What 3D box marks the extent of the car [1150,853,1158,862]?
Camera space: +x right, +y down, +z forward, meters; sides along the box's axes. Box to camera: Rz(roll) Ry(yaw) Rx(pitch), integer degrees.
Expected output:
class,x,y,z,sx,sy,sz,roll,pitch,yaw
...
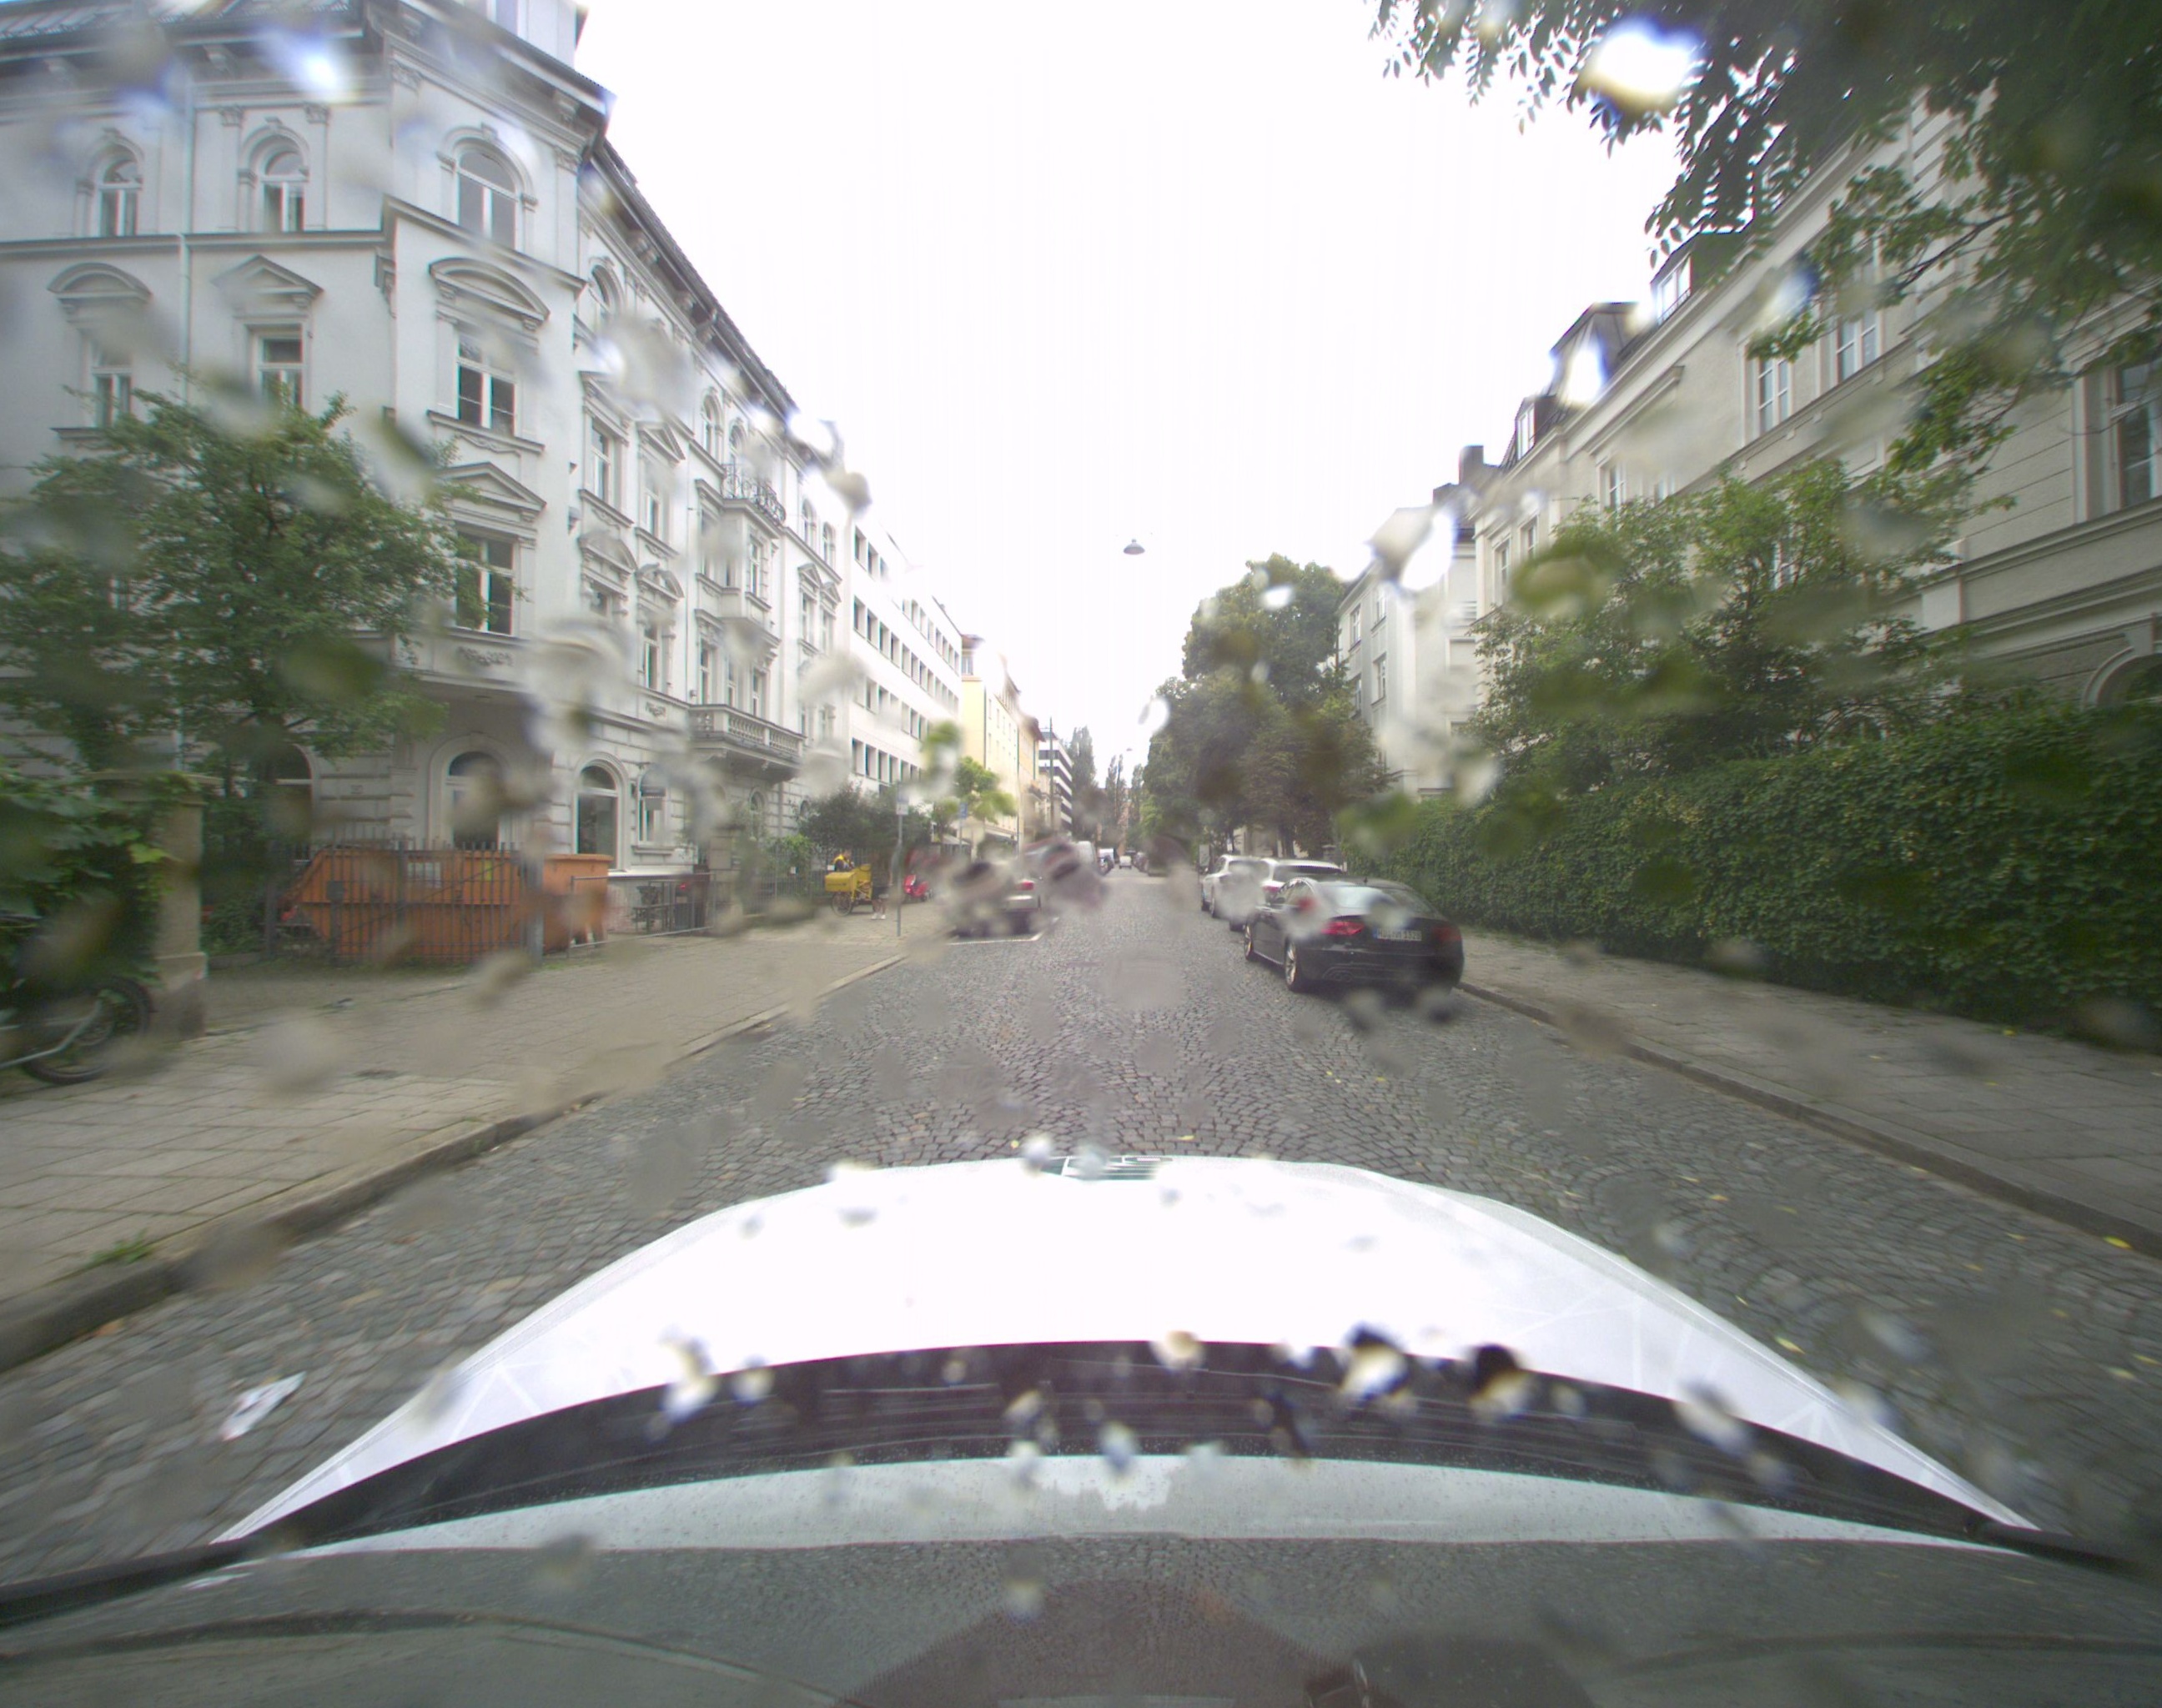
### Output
class,x,y,z,sx,sy,sz,roll,pitch,yaw
car,17.896,0.817,199.407,1.985,2.014,4.003,1,-1,4

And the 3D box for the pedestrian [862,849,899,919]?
class,x,y,z,sx,sy,sz,roll,pitch,yaw
pedestrian,-4.903,0.726,19.980,0.690,1.687,0.720,0,-1,2

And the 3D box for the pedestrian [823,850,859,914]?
class,x,y,z,sx,sy,sz,roll,pitch,yaw
pedestrian,-6.488,0.751,22.056,0.714,1.687,0.696,0,-1,2

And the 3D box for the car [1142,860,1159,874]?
class,x,y,z,sx,sy,sz,roll,pitch,yaw
car,7.885,1.453,92.904,1.782,1.520,4.004,0,0,4

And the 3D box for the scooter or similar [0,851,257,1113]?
class,x,y,z,sx,sy,sz,roll,pitch,yaw
scooter or similar,-6.501,0.714,4.570,0.937,1.442,2.657,2,0,2

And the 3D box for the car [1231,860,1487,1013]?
class,x,y,z,sx,sy,sz,roll,pitch,yaw
car,3.330,0.879,10.780,1.866,1.503,4.512,3,0,1

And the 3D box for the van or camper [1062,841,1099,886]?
class,x,y,z,sx,sy,sz,roll,pitch,yaw
van or camper,0.011,0.565,51.443,1.985,2.652,4.004,-2,-1,3

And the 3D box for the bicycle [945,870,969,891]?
class,x,y,z,sx,sy,sz,roll,pitch,yaw
bicycle,-5.438,1.146,35.728,0.500,0.839,2.093,0,0,6

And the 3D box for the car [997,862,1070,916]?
class,x,y,z,sx,sy,sz,roll,pitch,yaw
car,-1.351,1.004,24.861,1.866,1.451,4.208,-1,0,1

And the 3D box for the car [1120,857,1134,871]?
class,x,y,z,sx,sy,sz,roll,pitch,yaw
car,6.638,1.472,117.574,1.985,2.014,4.004,0,0,4

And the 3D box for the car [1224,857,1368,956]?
class,x,y,z,sx,sy,sz,roll,pitch,yaw
car,4.024,0.908,15.975,1.810,1.580,4.210,3,0,2

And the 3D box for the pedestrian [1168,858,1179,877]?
class,x,y,z,sx,sy,sz,roll,pitch,yaw
pedestrian,10.129,1.449,89.110,0.857,2.014,0.986,1,-1,-14

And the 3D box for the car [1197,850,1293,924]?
class,x,y,z,sx,sy,sz,roll,pitch,yaw
car,4.390,0.843,22.455,1.865,1.733,4.596,3,0,3

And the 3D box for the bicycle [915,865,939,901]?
class,x,y,z,sx,sy,sz,roll,pitch,yaw
bicycle,-5.508,1.019,29.101,0.656,1.221,2.078,1,0,-16

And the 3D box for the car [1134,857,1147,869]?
class,x,y,z,sx,sy,sz,roll,pitch,yaw
car,9.922,1.536,136.081,1.985,2.014,4.004,1,0,4

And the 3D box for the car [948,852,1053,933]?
class,x,y,z,sx,sy,sz,roll,pitch,yaw
car,-1.719,0.808,18.821,1.866,1.580,4.256,-2,0,1

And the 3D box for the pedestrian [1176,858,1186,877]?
class,x,y,z,sx,sy,sz,roll,pitch,yaw
pedestrian,11.000,1.464,89.516,0.857,2.014,0.986,1,-1,-14

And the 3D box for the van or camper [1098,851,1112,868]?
class,x,y,z,sx,sy,sz,roll,pitch,yaw
van or camper,4.006,0.958,136.008,2.246,2.742,5.102,1,0,3

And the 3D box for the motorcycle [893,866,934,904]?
class,x,y,z,sx,sy,sz,roll,pitch,yaw
motorcycle,-5.521,1.013,26.934,0.618,1.197,1.871,1,-1,12

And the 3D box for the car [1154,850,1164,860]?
class,x,y,z,sx,sy,sz,roll,pitch,yaw
car,16.669,0.185,174.887,1.985,2.014,4.003,1,-1,4

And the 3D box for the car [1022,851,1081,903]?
class,x,y,z,sx,sy,sz,roll,pitch,yaw
car,-1.065,0.836,31.421,1.866,1.776,4.124,-3,-1,2

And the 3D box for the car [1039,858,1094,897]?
class,x,y,z,sx,sy,sz,roll,pitch,yaw
car,-0.587,1.024,36.476,1.863,1.580,4.215,2,0,6

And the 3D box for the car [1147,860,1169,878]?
class,x,y,z,sx,sy,sz,roll,pitch,yaw
car,6.827,1.319,72.243,1.782,1.520,4.004,0,0,4

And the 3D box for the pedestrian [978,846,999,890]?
class,x,y,z,sx,sy,sz,roll,pitch,yaw
pedestrian,-4.147,0.635,36.603,0.789,1.917,0.759,1,-1,2

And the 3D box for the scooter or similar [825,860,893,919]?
class,x,y,z,sx,sy,sz,roll,pitch,yaw
scooter or similar,-5.807,0.888,21.503,0.937,1.442,2.658,0,0,3
